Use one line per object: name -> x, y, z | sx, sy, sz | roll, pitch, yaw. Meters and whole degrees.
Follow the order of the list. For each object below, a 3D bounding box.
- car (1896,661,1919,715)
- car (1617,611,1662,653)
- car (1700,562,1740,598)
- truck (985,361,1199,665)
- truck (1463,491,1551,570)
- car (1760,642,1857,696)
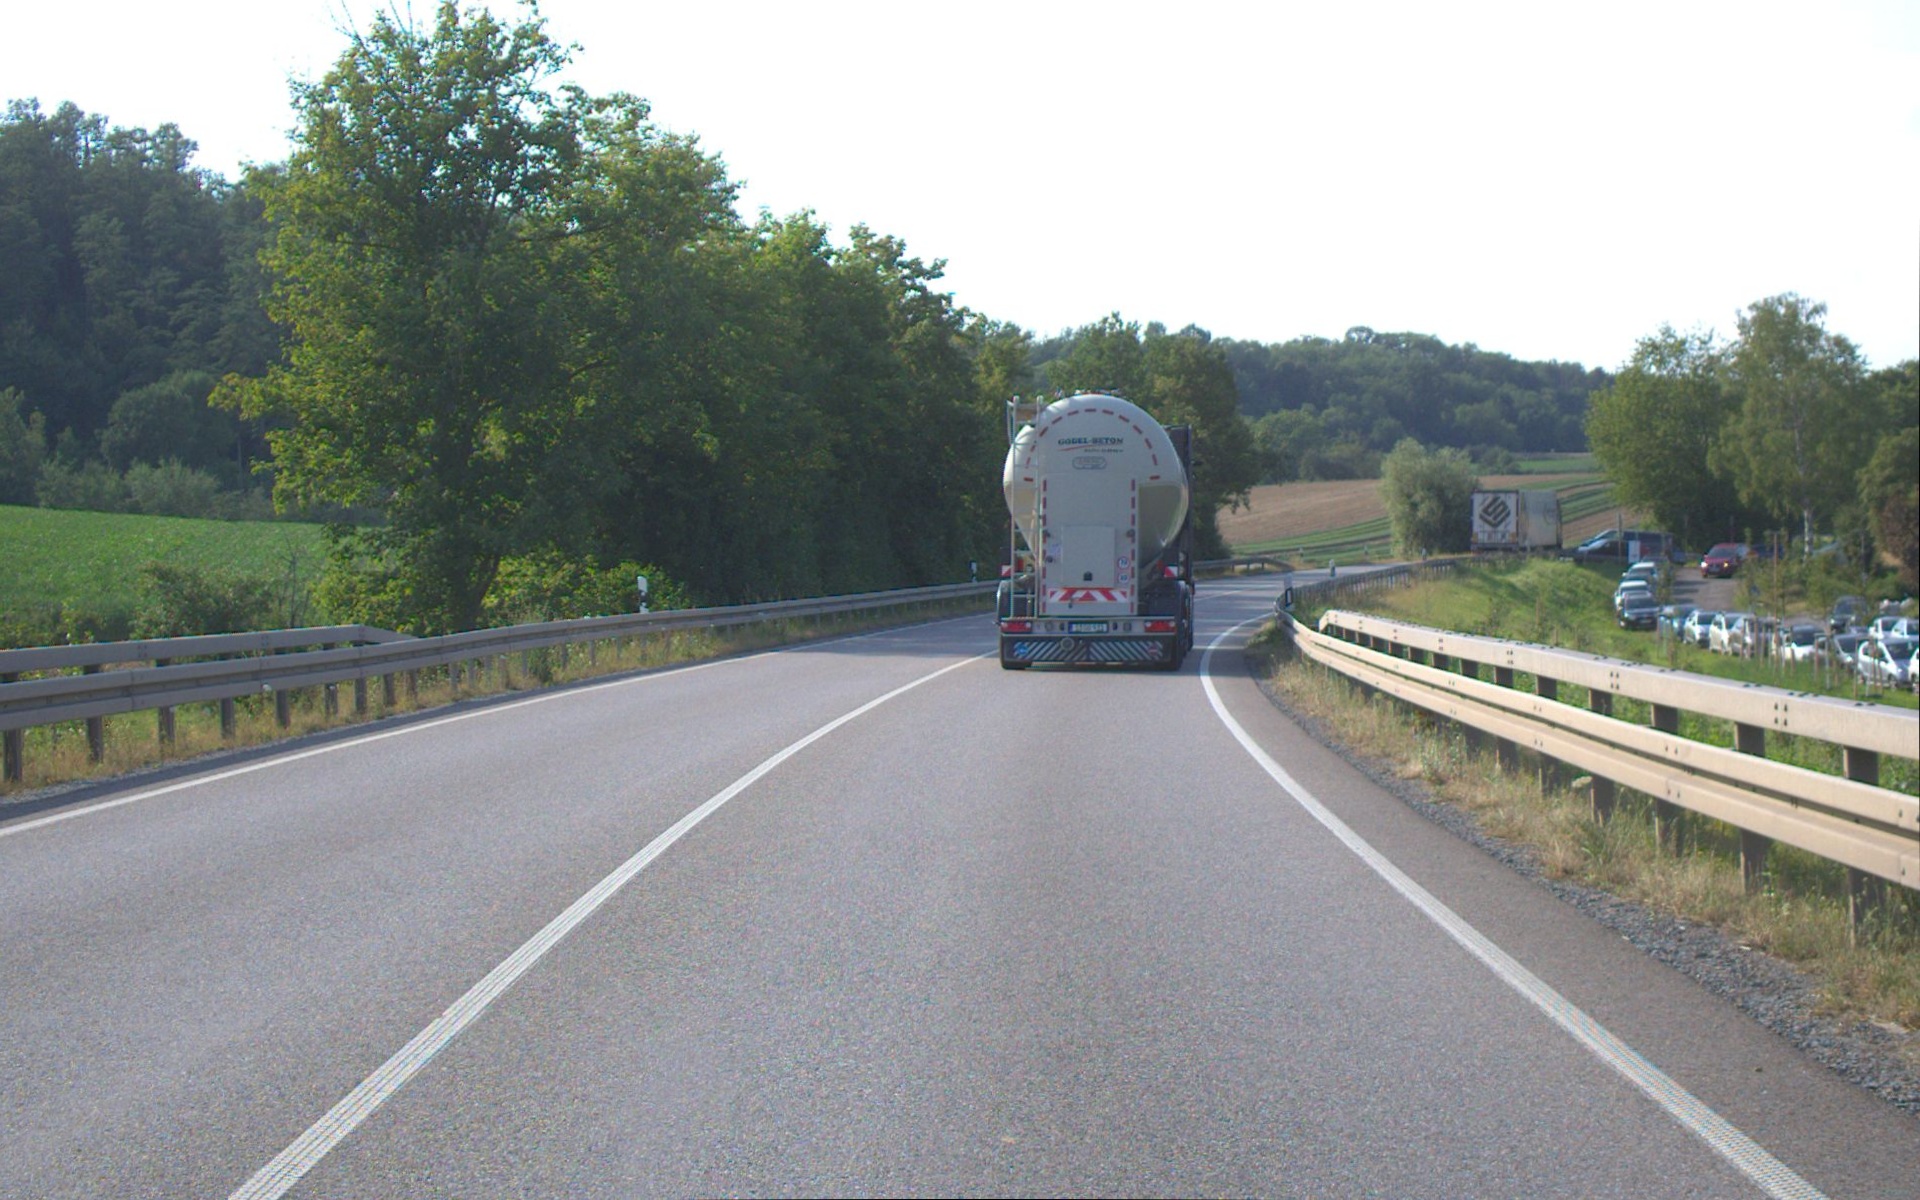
car -> 30.468, 2.713, 104.924 | 1.891, 1.554, 4.784 | -4, 2, -7
car -> 31.040, 1.451, 157.139 | 1.893, 1.554, 4.781 | -4, 2, 11
car -> 41.547, -1.098, 188.050 | 1.893, 1.681, 5.084 | -4, 2, 11
truck -> 2.027, -1.257, 53.275 | 2.893, 4.128, 13.171 | 0, 1, 2
truck -> 30.865, -3.956, 193.541 | 3.186, 4.213, 13.162 | -1, 1, 16
car -> 30.163, 2.450, 122.349 | 1.892, 1.554, 4.783 | -4, 2, -4
